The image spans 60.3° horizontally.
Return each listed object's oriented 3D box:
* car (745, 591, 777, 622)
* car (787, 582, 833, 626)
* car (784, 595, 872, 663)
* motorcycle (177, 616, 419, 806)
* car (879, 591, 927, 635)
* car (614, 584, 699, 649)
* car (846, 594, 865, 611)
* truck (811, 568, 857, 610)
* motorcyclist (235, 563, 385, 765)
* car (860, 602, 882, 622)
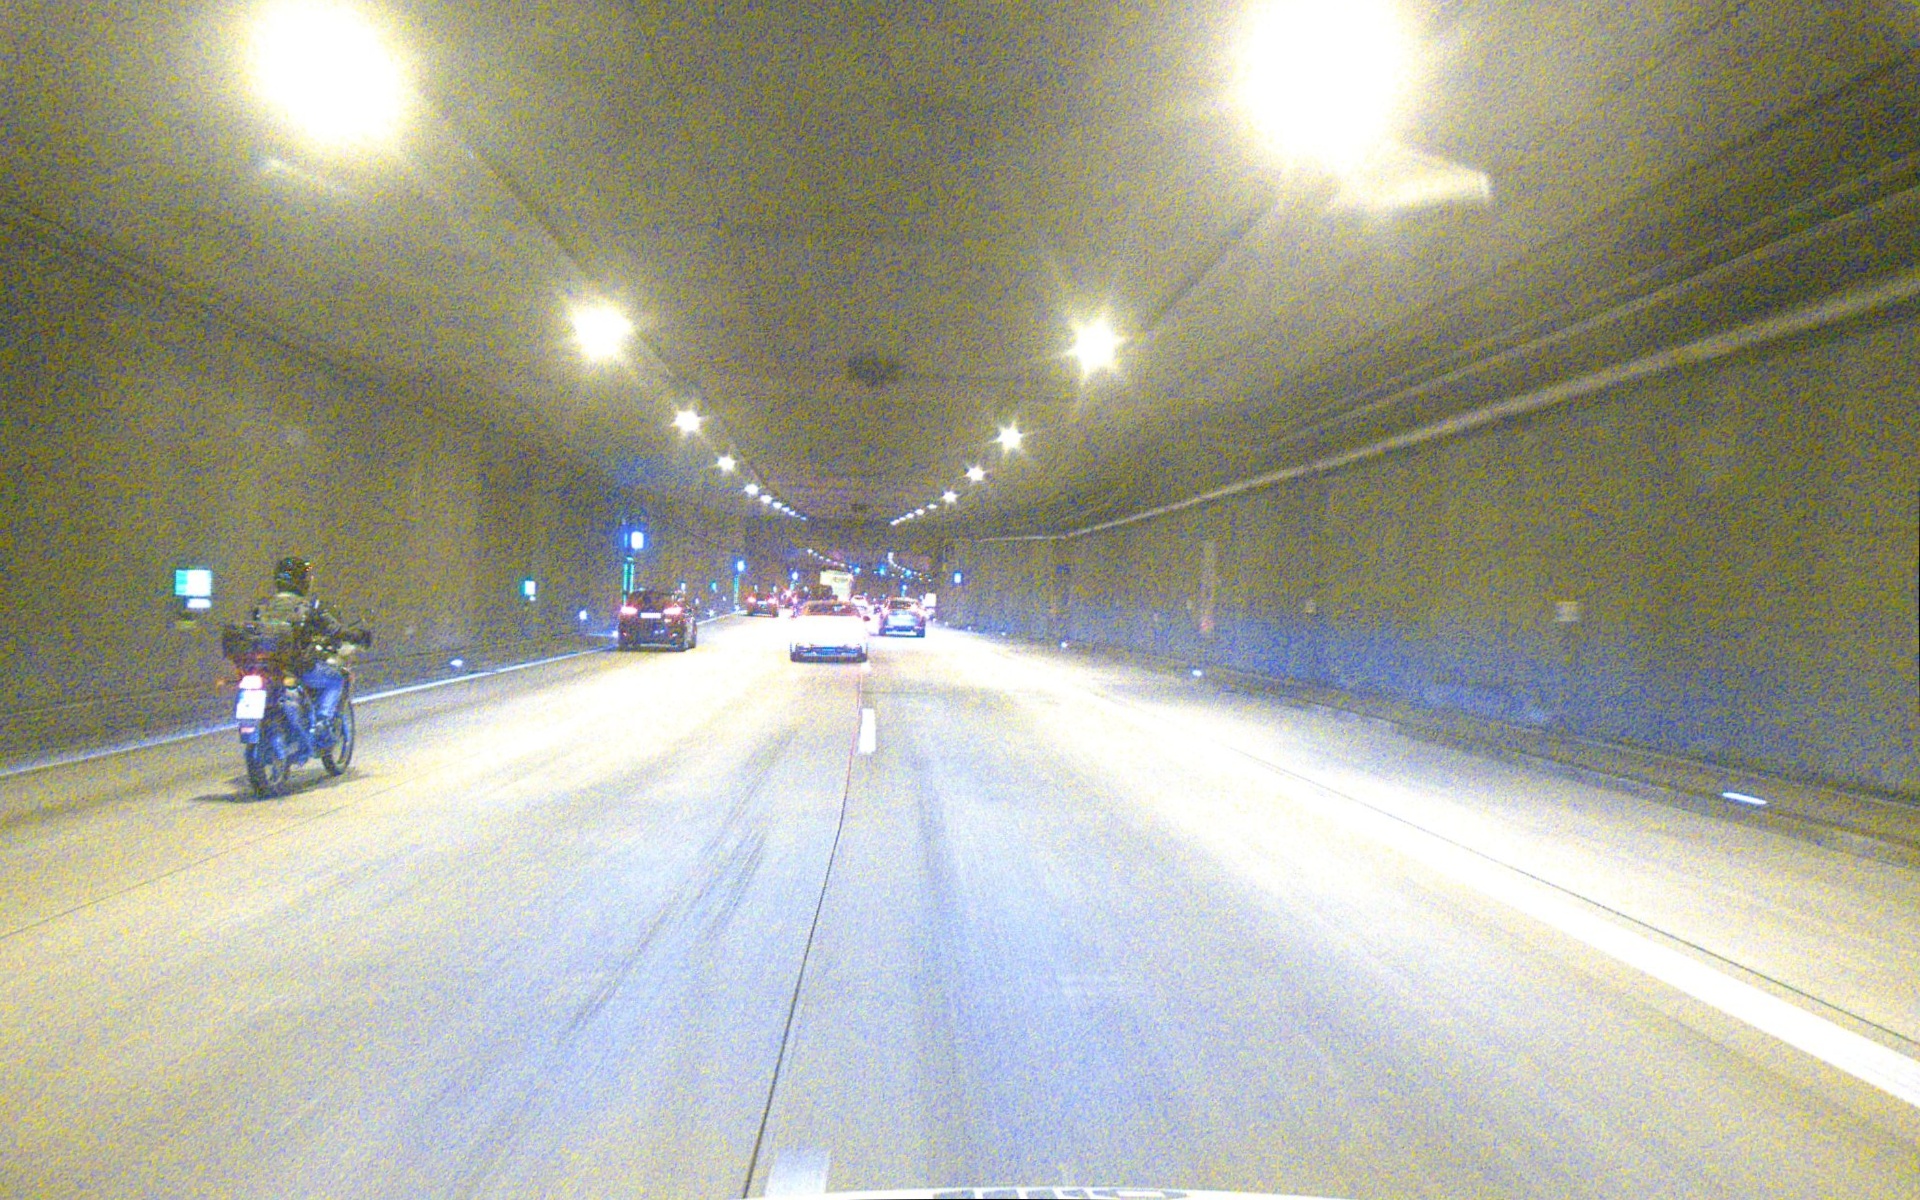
[{"bbox_3d":[-11.480,0.403,95.424,1.766,1.713,3.993,1,0,-7],"label":"car"},{"bbox_3d":[-7.064,0.213,78.008,1.954,2.006,3.998,1,-1,-3],"label":"car"},{"bbox_3d":[-3.107,0.657,39.297,1.954,1.509,3.997,1,0,-4],"label":"car"},{"bbox_3d":[-4.994,0.781,12.719,0.828,1.267,2.604,1,0,-1],"label":"motorcycle"},{"bbox_3d":[-2.251,0.516,65.536,1.803,1.630,3.998,1,0,-2],"label":"car"},{"bbox_3d":[-8.019,0.411,44.002,1.750,1.626,3.799,1,0,-3],"label":"car"},{"bbox_3d":[-11.885,0.294,188.232,1.953,1.785,3.998,2,-1,-2],"label":"car"},{"bbox_3d":[-9.968,-0.907,131.683,3.020,3.167,10.026,2,1,-1],"label":"truck"},{"bbox_3d":[-4.987,0.479,12.743,0.822,1.503,0.821,1,0,-1],"label":"motorcyclist"},{"bbox_3d":[-8.257,1.102,153.295,1.954,1.785,3.997,2,-1,-4],"label":"car"}]
